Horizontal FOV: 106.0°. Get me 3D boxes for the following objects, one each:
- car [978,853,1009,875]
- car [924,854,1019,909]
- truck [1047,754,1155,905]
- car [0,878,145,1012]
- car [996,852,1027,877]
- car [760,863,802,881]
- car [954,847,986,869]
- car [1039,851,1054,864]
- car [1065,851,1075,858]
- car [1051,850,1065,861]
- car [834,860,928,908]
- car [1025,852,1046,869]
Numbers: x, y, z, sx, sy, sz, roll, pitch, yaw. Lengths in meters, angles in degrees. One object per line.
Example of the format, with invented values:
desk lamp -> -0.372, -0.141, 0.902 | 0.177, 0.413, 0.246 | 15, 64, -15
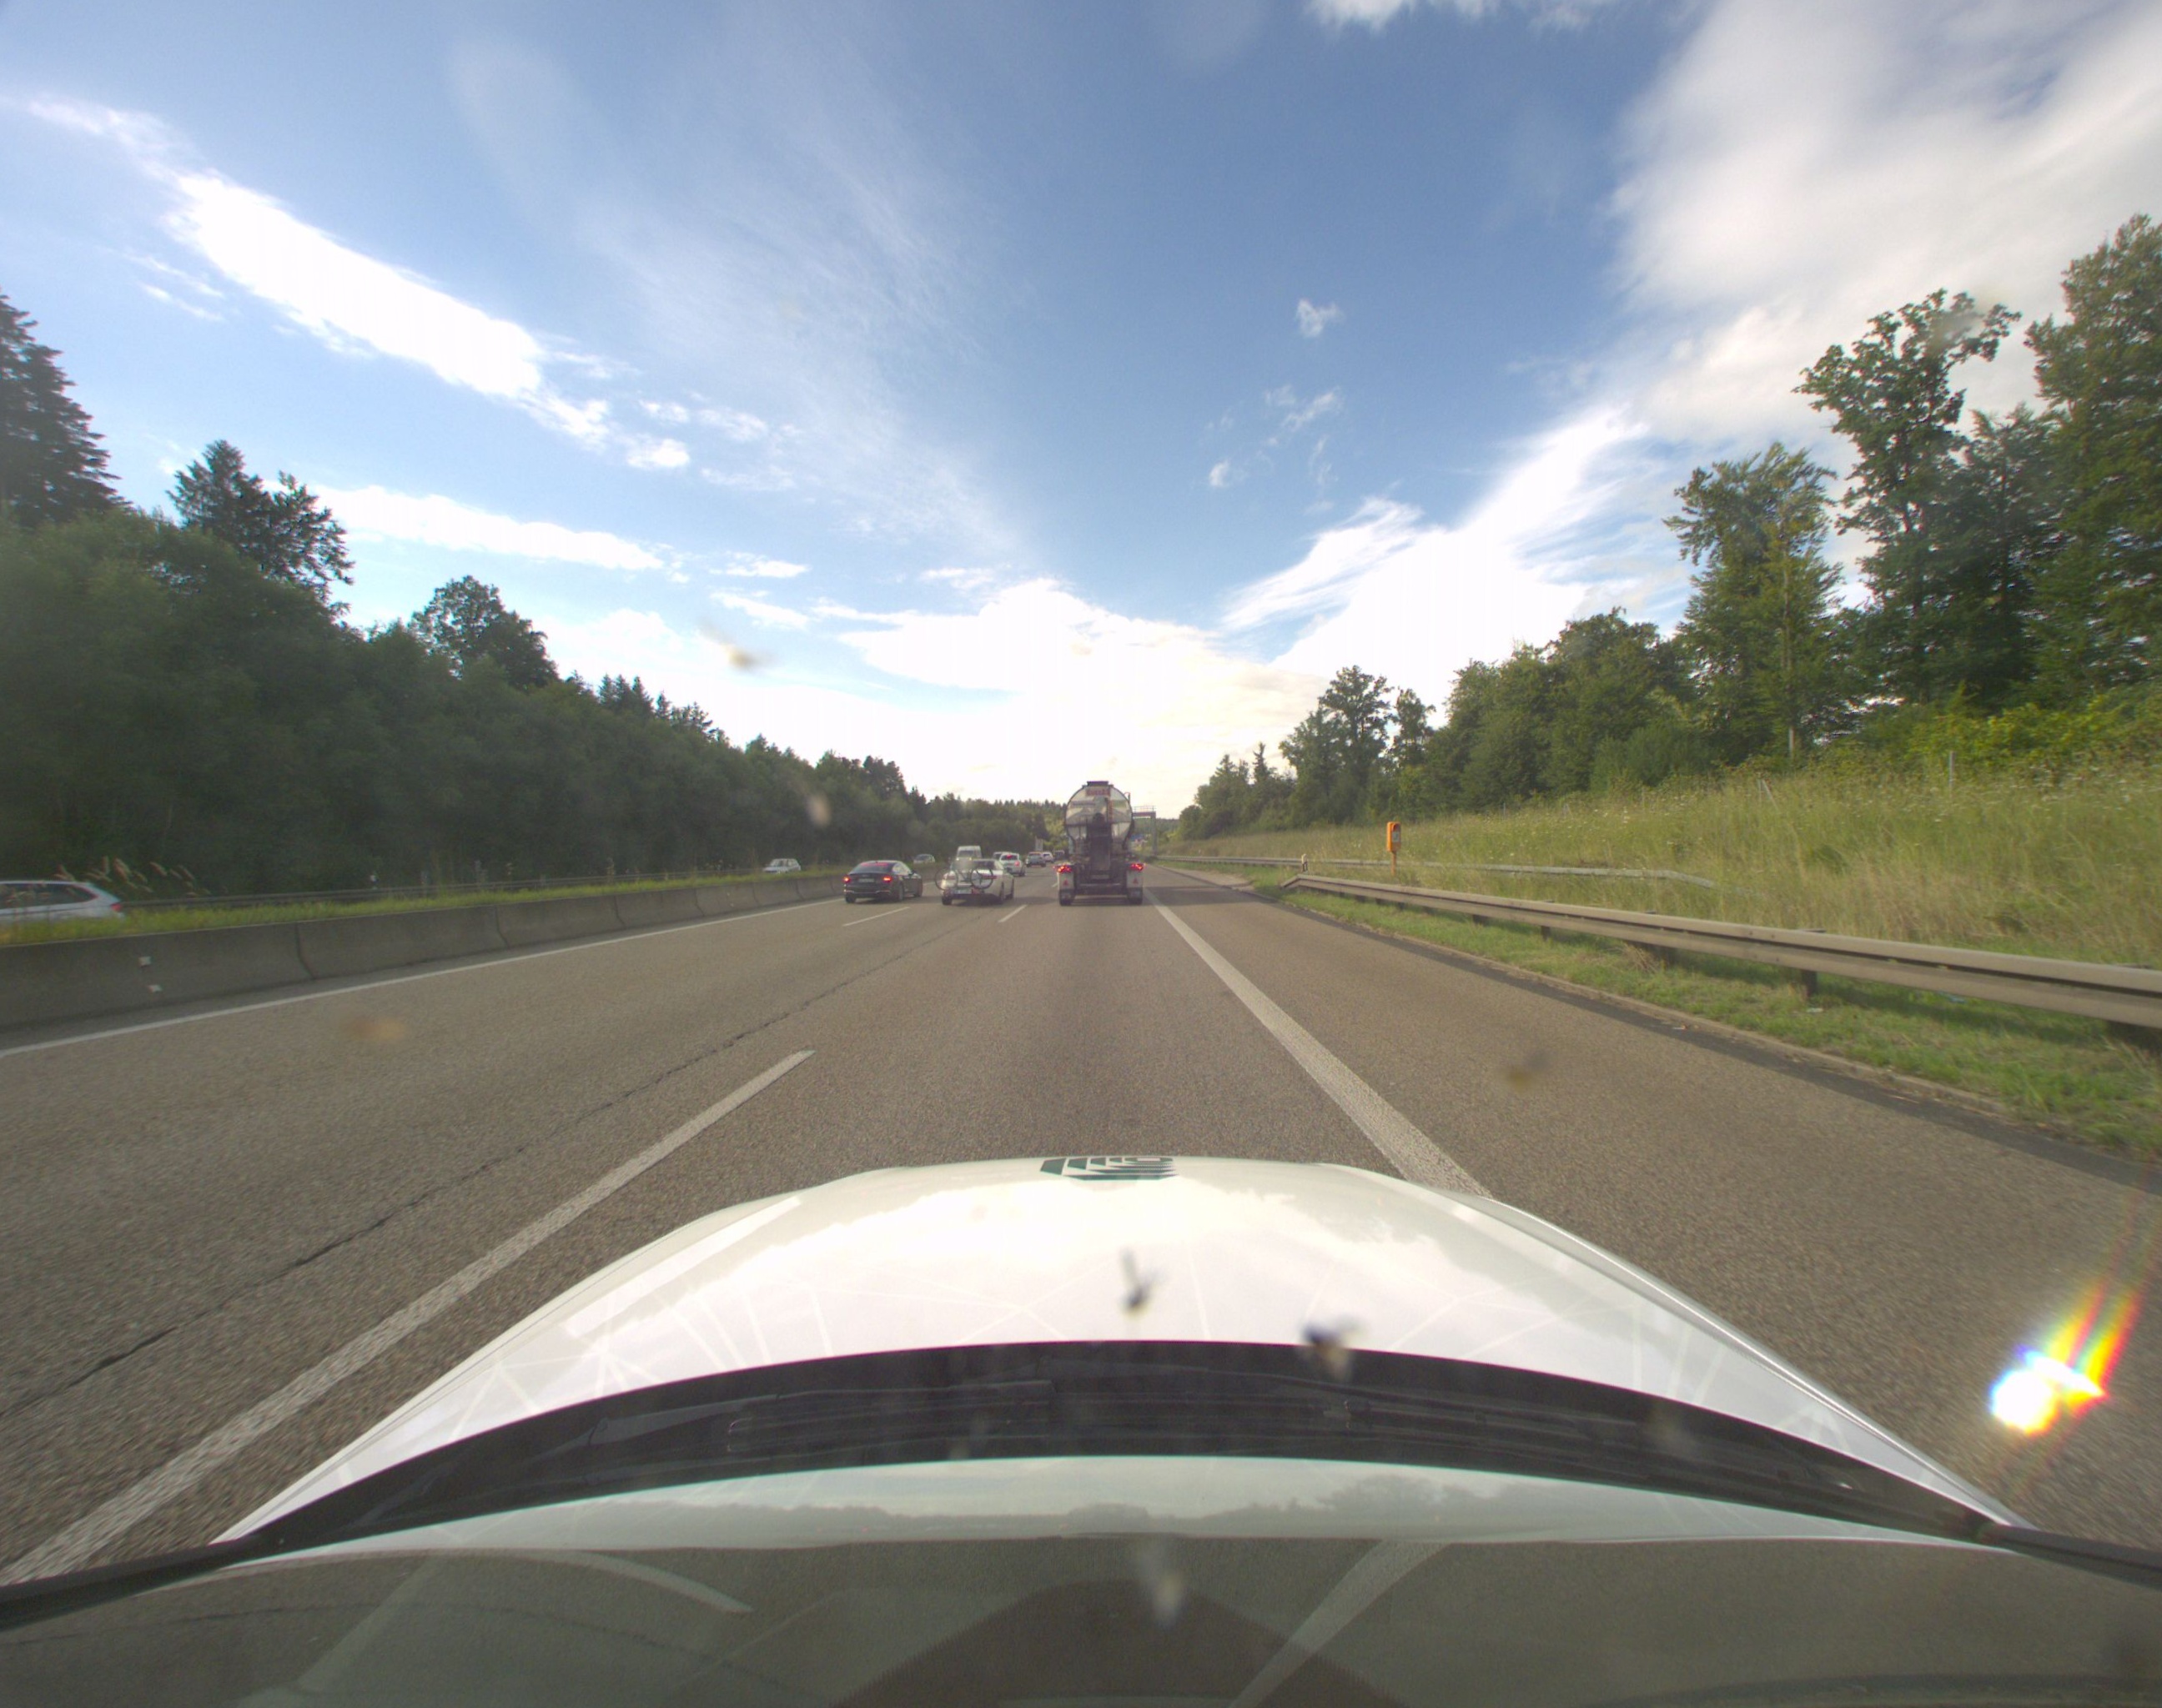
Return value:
car -> -6.722, 0.719, 62.708 | 1.800, 1.585, 4.208 | -1, 1, 1
car -> -3.338, 0.785, 26.057 | 2.052, 1.499, 5.739 | -1, 0, 2
truck -> 0.774, -0.710, 28.317 | 2.901, 4.157, 11.275 | -1, 0, 2
car -> -19.183, 1.566, 12.508 | 2.569, 2.138, 5.968 | -1, 0, 2
car -> -4.494, 0.678, 52.937 | 1.612, 1.544, 3.521 | -1, 0, 1
car -> -20.775, 1.233, 56.518 | 1.585, 1.094, 3.174 | -1, 0, 2
car -> -12.498, 0.412, 91.783 | 2.569, 2.346, 5.831 | -1, 0, 2
car -> -4.568, 0.494, 108.623 | 1.800, 1.585, 4.208 | -1, 1, 1
car -> -2.296, 0.049, 171.012 | 1.935, 1.456, 4.208 | -1, 1, 1
car -> -3.569, 0.252, 127.453 | 1.935, 1.585, 4.208 | -1, 1, 1
car -> -6.728, 0.956, 27.974 | 1.849, 1.431, 4.843 | -1, 0, 2
car -> -4.629, 0.641, 83.968 | 1.800, 1.585, 4.208 | -1, 1, 1
